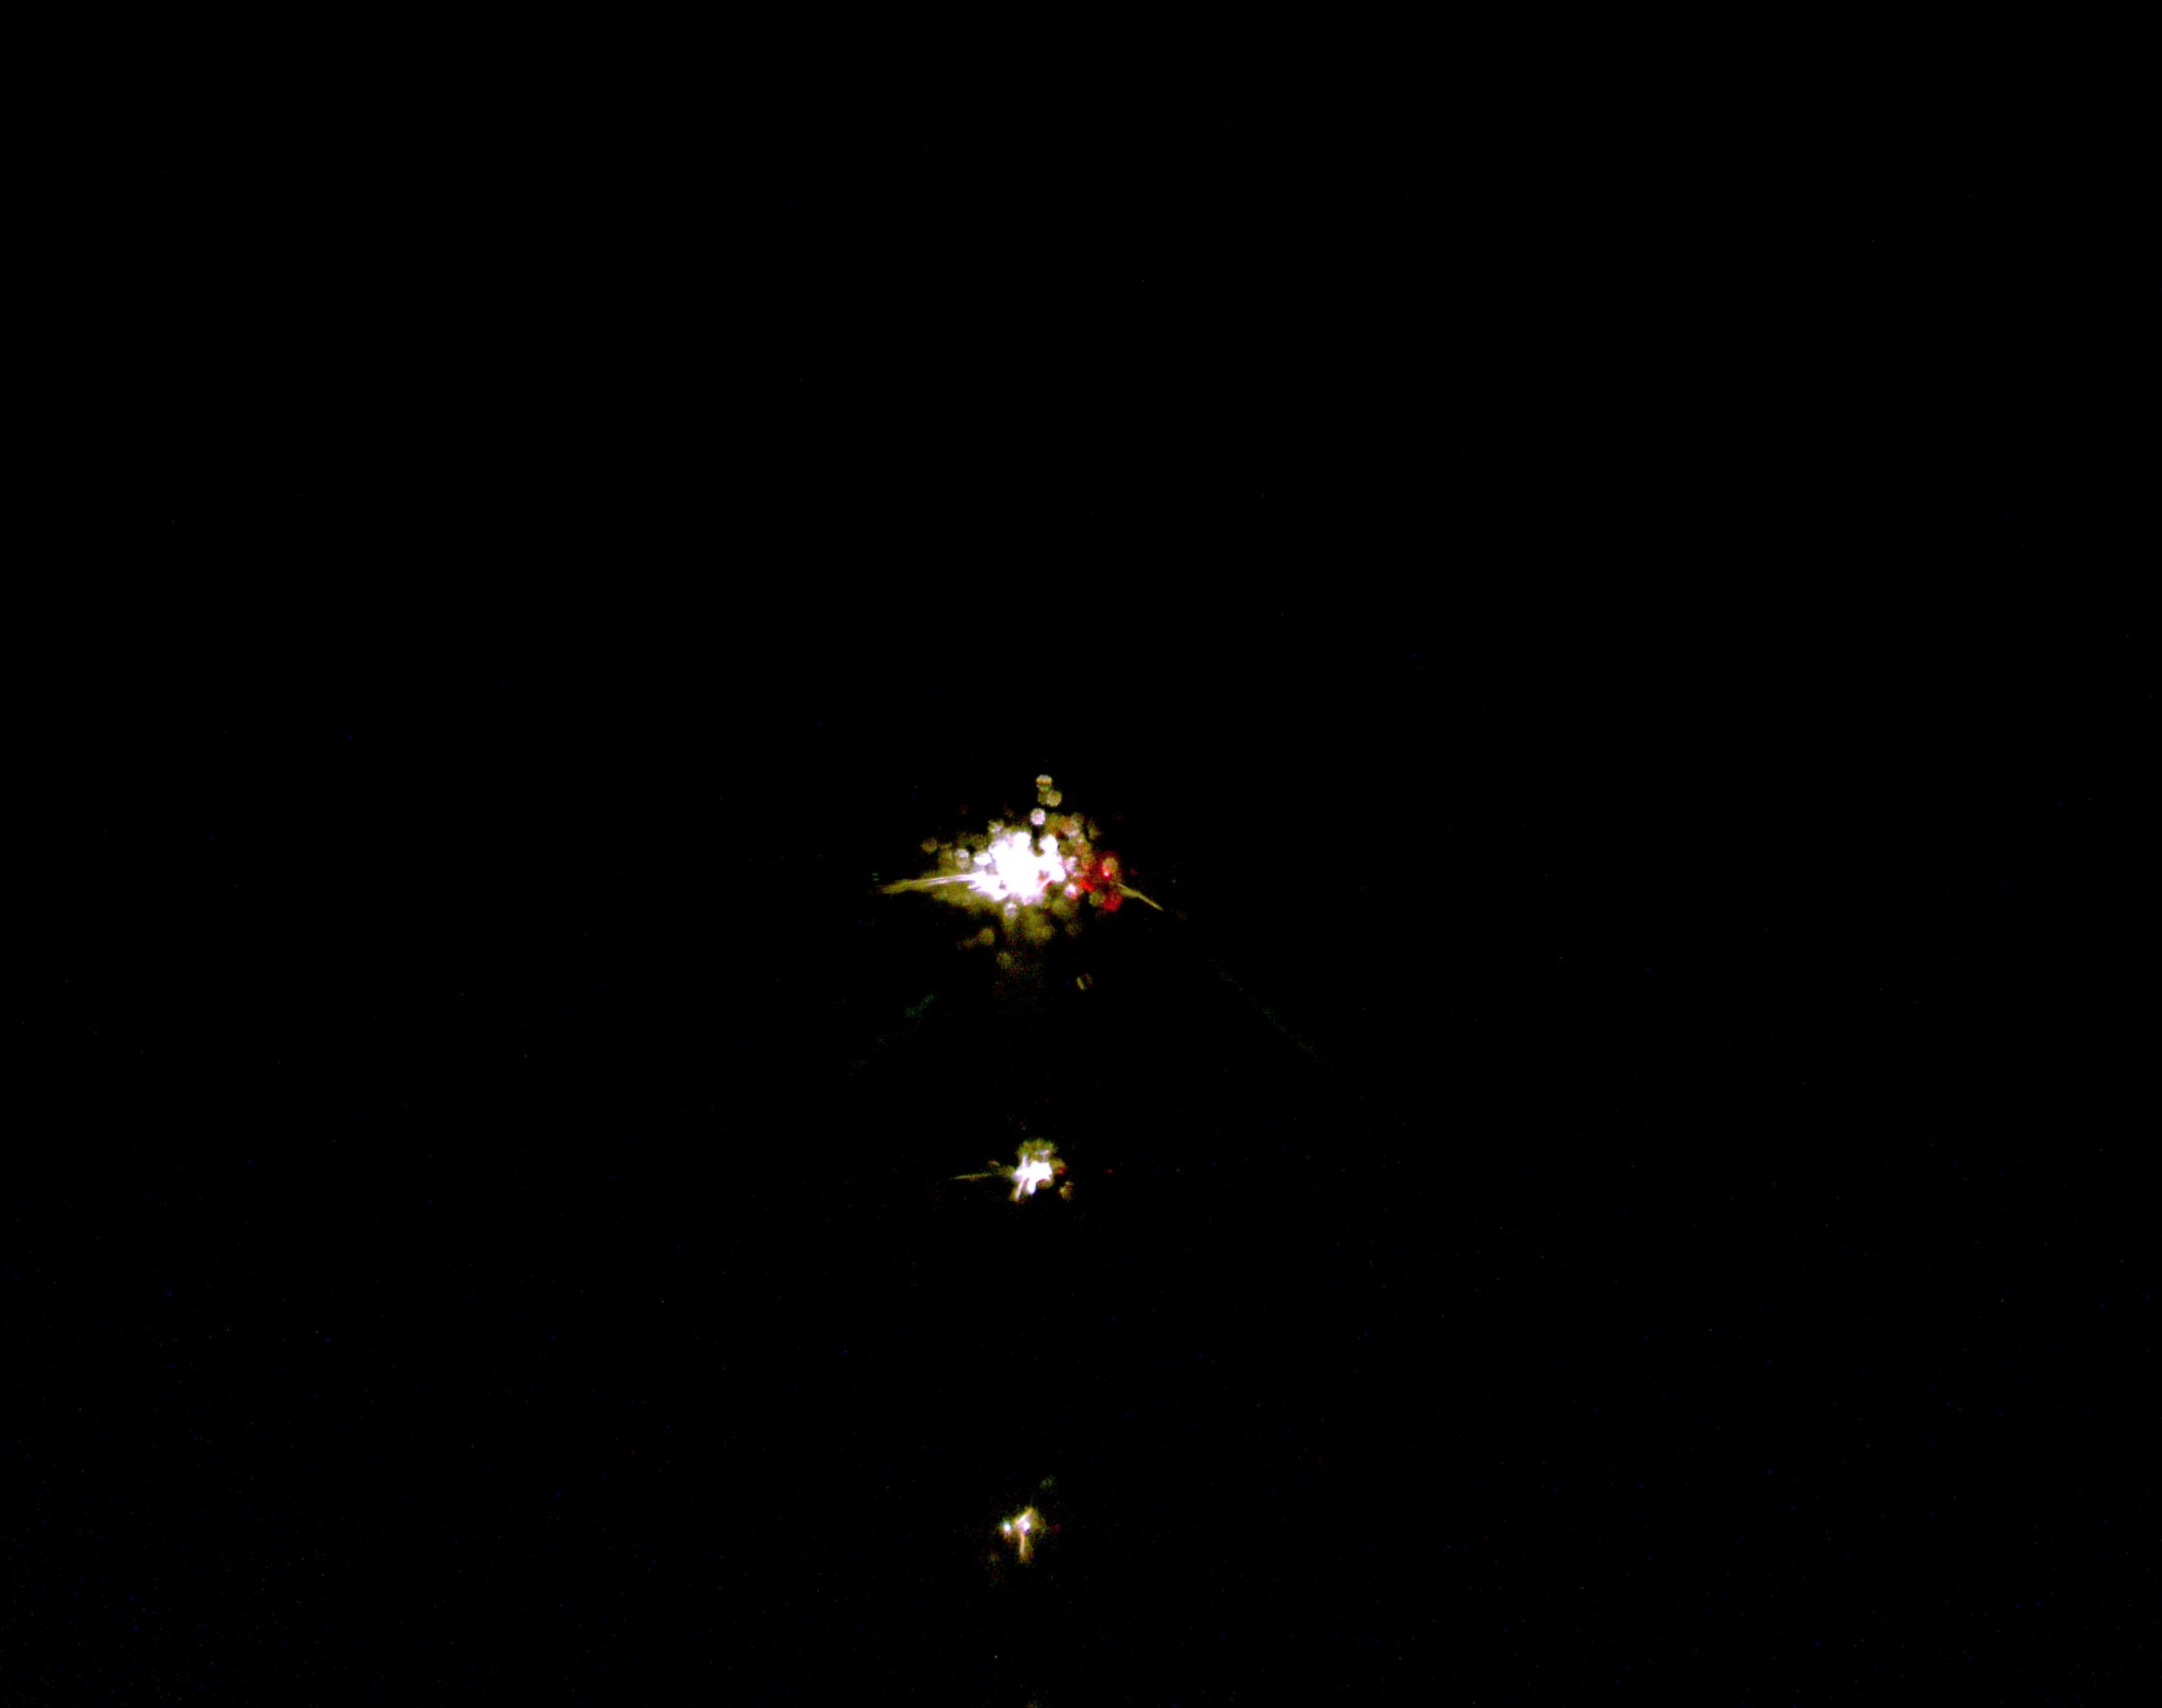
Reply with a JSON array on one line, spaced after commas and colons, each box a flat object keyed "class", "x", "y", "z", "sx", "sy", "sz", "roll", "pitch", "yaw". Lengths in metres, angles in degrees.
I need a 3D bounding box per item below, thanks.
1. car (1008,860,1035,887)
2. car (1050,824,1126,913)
[{"class": "car", "x": -4.710, "y": 1.537, "z": 65.253, "sx": 1.989, "sy": 2.013, "sz": 4.452, "roll": -2, "pitch": 0, "yaw": -3}, {"class": "car", "x": 0.205, "y": 0.402, "z": 26.319, "sx": 2.174, "sy": 2.557, "sz": 4.507, "roll": 2, "pitch": 0, "yaw": 0}]
